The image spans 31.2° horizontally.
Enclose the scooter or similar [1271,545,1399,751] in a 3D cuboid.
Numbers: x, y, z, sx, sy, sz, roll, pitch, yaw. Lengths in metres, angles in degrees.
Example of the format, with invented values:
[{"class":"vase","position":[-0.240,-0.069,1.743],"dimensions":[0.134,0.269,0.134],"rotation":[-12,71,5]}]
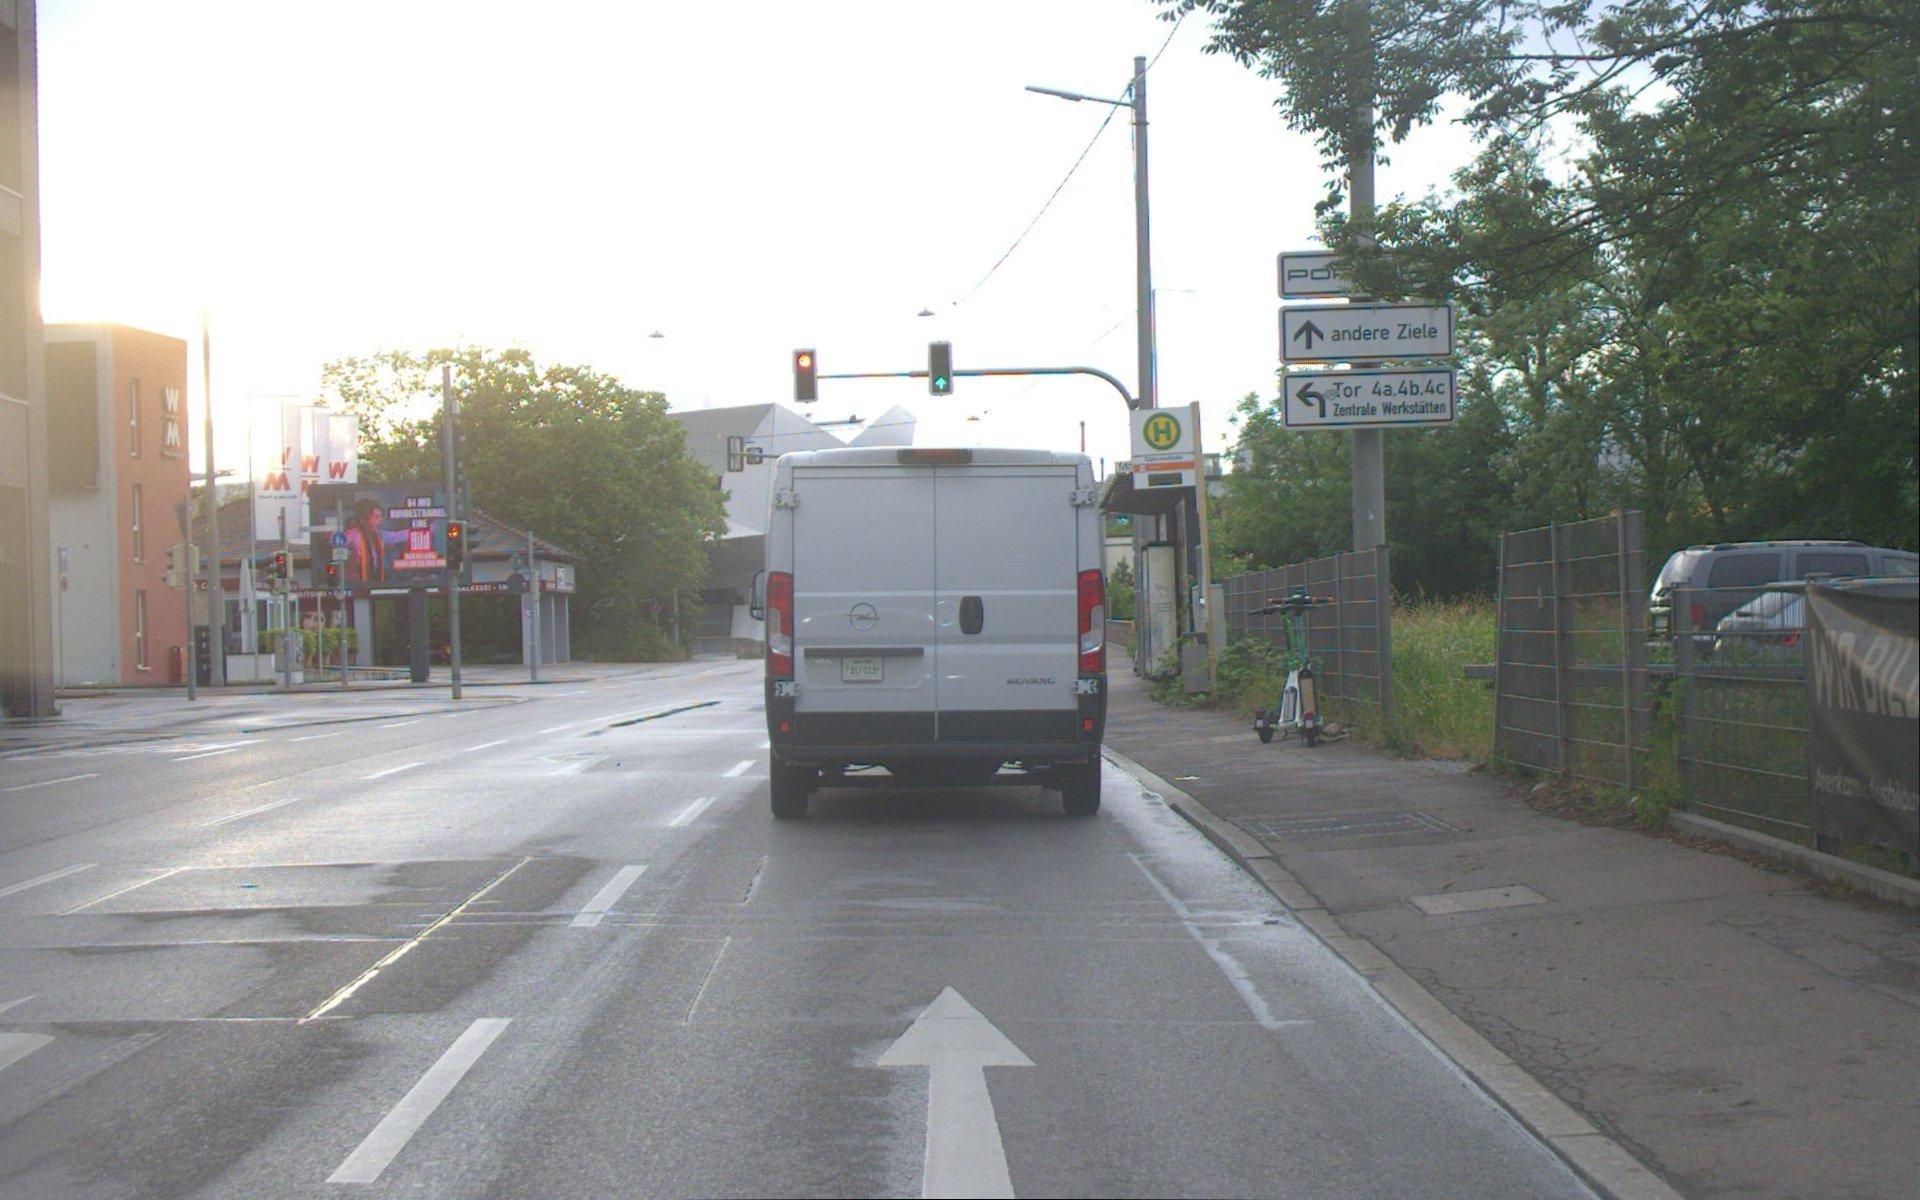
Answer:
[{"class":"scooter or similar","position":[2.962,0.363,27.223],"dimensions":[0.434,1.582,1.273],"rotation":[-1,1,-23]}]

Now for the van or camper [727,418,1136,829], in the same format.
[{"class":"van or camper","position":[-0.162,0.076,22.406],"dimensions":[2.340,2.349,5.200],"rotation":[0,1,0]}]

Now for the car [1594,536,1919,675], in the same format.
[{"class":"car","position":[9.501,0.042,39.561],"dimensions":[3.986,1.516,1.804],"rotation":[-1,1,-5]}]

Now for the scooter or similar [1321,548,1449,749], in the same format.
[{"class":"scooter or similar","position":[3.378,0.368,27.401],"dimensions":[0.434,1.559,1.273],"rotation":[-1,1,-23]}]

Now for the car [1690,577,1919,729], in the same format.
[{"class":"car","position":[9.923,0.526,36.260],"dimensions":[3.986,1.516,1.804],"rotation":[-1,1,-5]}]
